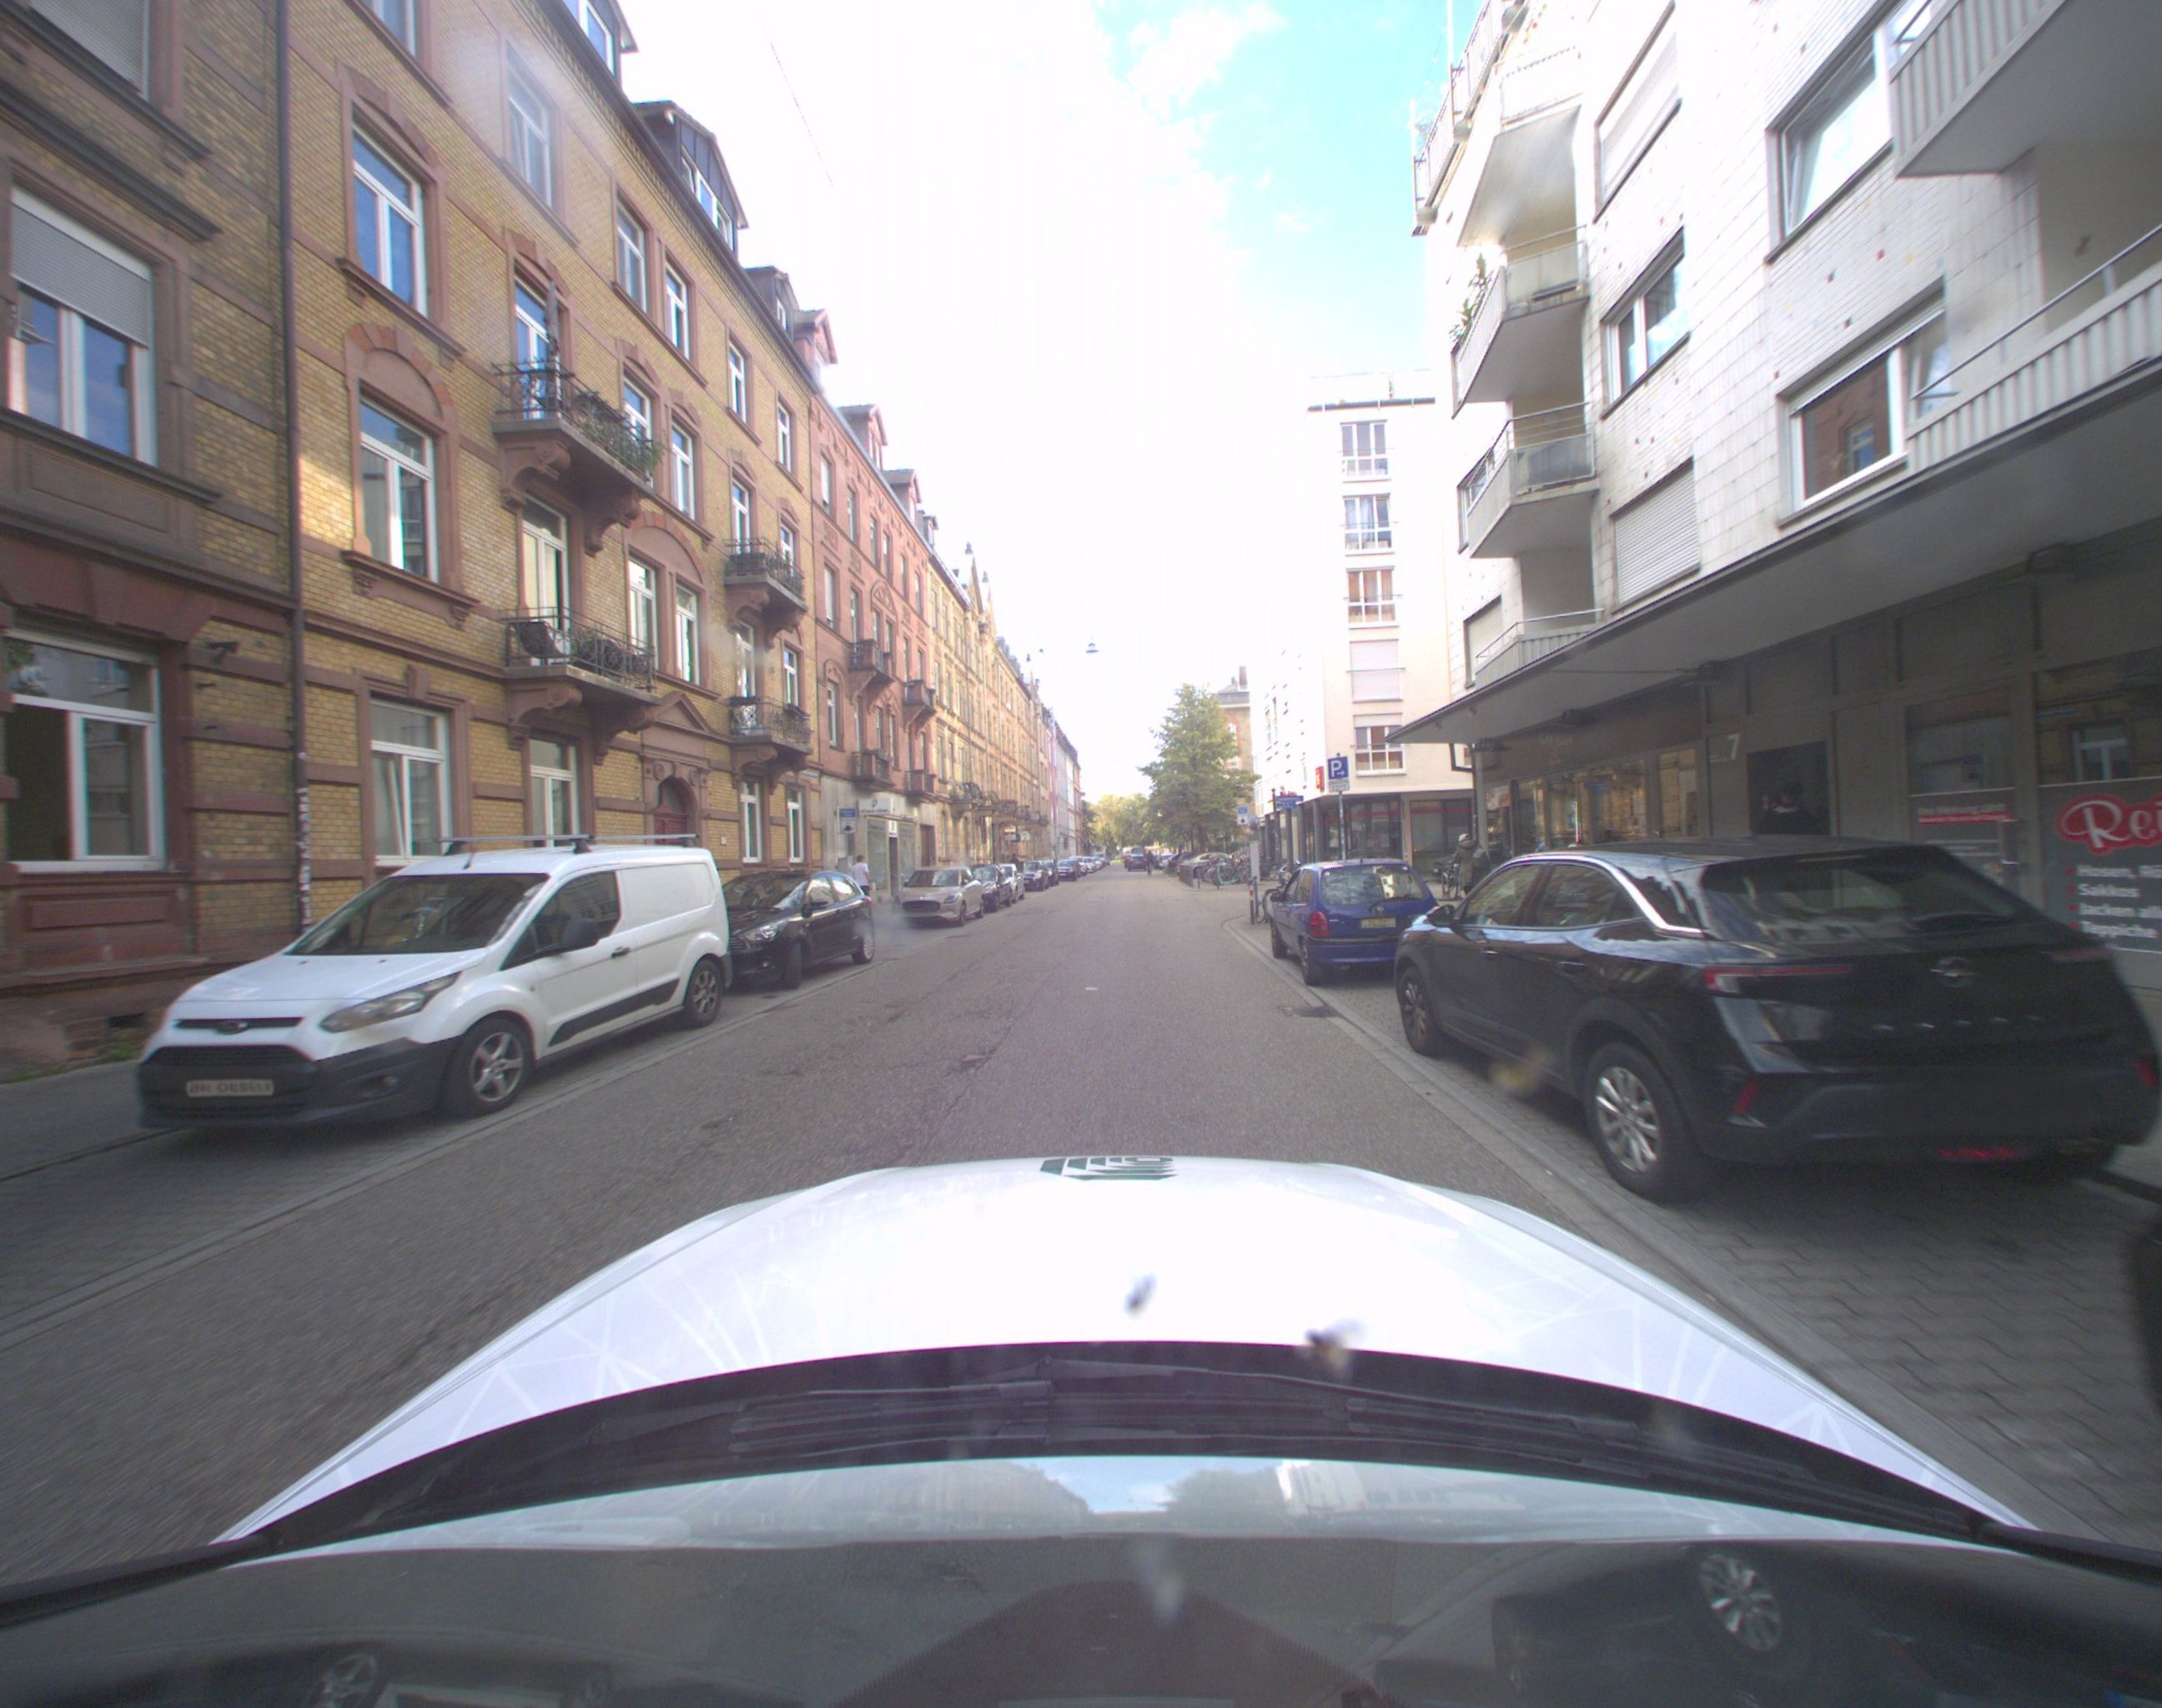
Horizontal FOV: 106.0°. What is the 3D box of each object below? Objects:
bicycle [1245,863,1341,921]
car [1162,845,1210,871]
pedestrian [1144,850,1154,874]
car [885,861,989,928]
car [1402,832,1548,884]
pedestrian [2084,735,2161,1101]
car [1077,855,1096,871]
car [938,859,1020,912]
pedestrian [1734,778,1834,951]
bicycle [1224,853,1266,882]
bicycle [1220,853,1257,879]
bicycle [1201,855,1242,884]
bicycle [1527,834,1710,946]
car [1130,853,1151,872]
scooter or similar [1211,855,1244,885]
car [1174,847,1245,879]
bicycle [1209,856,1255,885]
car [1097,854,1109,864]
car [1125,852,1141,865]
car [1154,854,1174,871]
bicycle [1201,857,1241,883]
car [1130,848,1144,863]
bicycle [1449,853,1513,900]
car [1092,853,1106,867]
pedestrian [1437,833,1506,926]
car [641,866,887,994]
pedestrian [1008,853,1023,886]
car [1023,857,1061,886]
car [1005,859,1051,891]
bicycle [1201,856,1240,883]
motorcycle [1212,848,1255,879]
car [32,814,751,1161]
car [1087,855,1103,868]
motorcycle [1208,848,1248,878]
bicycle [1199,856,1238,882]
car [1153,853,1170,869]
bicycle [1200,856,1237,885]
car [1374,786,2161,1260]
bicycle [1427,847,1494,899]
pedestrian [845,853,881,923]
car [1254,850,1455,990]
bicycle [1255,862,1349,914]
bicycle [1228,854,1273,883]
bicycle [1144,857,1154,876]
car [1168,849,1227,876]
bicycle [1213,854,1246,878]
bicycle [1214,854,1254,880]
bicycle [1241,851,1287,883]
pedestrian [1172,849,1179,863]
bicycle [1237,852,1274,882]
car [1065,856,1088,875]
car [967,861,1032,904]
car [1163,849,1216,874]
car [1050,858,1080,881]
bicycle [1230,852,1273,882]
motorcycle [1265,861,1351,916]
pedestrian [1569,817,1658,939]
[{"bbox_3d":[4.310,0.793,16.662,0.688,1.095,1.748,-3,-1,-43],"label":"bicycle"},{"bbox_3d":[8.951,0.346,69.407,3.965,1.683,1.742,-5,7,8],"label":"car"},{"bbox_3d":[4.829,0.550,57.737,0.715,1.650,0.931,-1,0,5],"label":"pedestrian"},{"bbox_3d":[-3.617,0.979,21.208,1.734,1.483,3.988,-1,0,4],"label":"car"},{"bbox_3d":[14.098,0.123,29.325,4.341,1.630,1.810,-2,2,5],"label":"car"},{"bbox_3d":[5.365,0.285,3.487,0.610,1.726,1.126,-5,0,-2],"label":"pedestrian"},{"bbox_3d":[0.571,0.882,79.849,1.683,1.550,3.870,-1,0,3],"label":"car"},{"bbox_3d":[-3.173,0.952,26.108,1.733,1.483,3.989,-1,0,5],"label":"car"},{"bbox_3d":[7.917,0.118,9.204,0.700,1.860,0.649,-3,-1,33],"label":"pedestrian"},{"bbox_3d":[7.414,0.595,36.776,1.770,1.146,0.409,-5,0,-17],"label":"bicycle"},{"bbox_3d":[7.982,0.607,41.264,1.724,1.159,0.501,-5,0,5],"label":"bicycle"},{"bbox_3d":[6.376,0.685,36.905,1.770,1.146,0.409,-5,0,-17],"label":"bicycle"},{"bbox_3d":[7.179,0.442,11.096,0.914,1.291,2.502,-4,0,4],"label":"bicycle"},{"bbox_3d":[5.916,0.832,81.166,1.956,1.741,4.045,-2,-1,4],"label":"car"},{"bbox_3d":[6.059,0.668,33.767,1.193,1.147,0.381,-5,1,35],"label":"scooter or similar"},{"bbox_3d":[7.633,0.552,48.460,3.756,1.546,1.727,-4,-1,-7],"label":"car"},{"bbox_3d":[6.367,0.700,34.363,1.761,1.056,0.411,-5,0,-2],"label":"bicycle"},{"bbox_3d":[3.419,0.740,126.495,1.683,1.550,3.870,-1,0,3],"label":"car"},{"bbox_3d":[6.161,0.537,96.574,1.789,1.472,3.891,-1,0,3],"label":"car"},{"bbox_3d":[8.304,0.844,81.670,1.921,1.638,4.005,-1,0,4],"label":"car"},{"bbox_3d":[6.563,0.747,38.261,1.756,1.099,0.412,-5,0,6],"label":"bicycle"},{"bbox_3d":[7.547,0.207,109.635,1.775,2.020,3.891,-1,0,3],"label":"car"},{"bbox_3d":[9.733,0.545,19.886,0.444,1.064,1.924,-2,-1,-4],"label":"bicycle"},{"bbox_3d":[2.495,0.769,111.435,1.683,1.821,3.870,-1,0,3],"label":"car"},{"bbox_3d":[6.993,0.443,14.620,0.820,1.588,0.782,-3,-1,5],"label":"pedestrian"},{"bbox_3d":[-4.256,0.934,11.694,1.734,1.483,3.987,-1,-1,4],"label":"car"},{"bbox_3d":[-3.777,0.883,47.010,0.685,1.853,0.933,-1,0,5],"label":"pedestrian"},{"bbox_3d":[-2.105,0.942,45.180,1.683,1.437,3.871,-1,0,3],"label":"car"},{"bbox_3d":[-2.492,0.969,39.227,1.683,1.386,3.871,-1,0,3],"label":"car"},{"bbox_3d":[6.676,0.743,39.001,1.756,1.118,0.412,-5,0,6],"label":"bicycle"},{"bbox_3d":[8.057,0.503,43.160,2.138,1.434,0.767,-5,0,8],"label":"motorcycle"},{"bbox_3d":[-4.717,0.735,6.703,1.911,1.871,4.441,-2,0,4],"label":"car"},{"bbox_3d":[1.628,0.858,94.913,1.683,1.550,3.870,-1,0,3],"label":"car"},{"bbox_3d":[8.325,0.494,46.187,2.138,1.530,0.688,-5,0,8],"label":"motorcycle"},{"bbox_3d":[6.712,0.739,39.935,1.785,1.159,0.501,-5,0,6],"label":"bicycle"},{"bbox_3d":[8.502,0.732,86.203,1.682,1.550,3.693,-1,0,5],"label":"car"},{"bbox_3d":[6.036,0.709,35.751,1.491,1.146,0.411,-5,0,-2],"label":"bicycle"},{"bbox_3d":[3.223,0.597,4.784,1.681,1.577,3.905,-3,0,3],"label":"car"},{"bbox_3d":[9.204,0.456,19.828,0.533,1.191,1.930,-2,-1,-5],"label":"bicycle"},{"bbox_3d":[-5.716,0.868,21.355,0.729,1.790,0.771,1,0,-3],"label":"pedestrian"},{"bbox_3d":[3.380,0.714,10.833,1.588,1.439,4.036,-3,0,5],"label":"car"},{"bbox_3d":[4.998,0.780,18.525,0.694,1.095,1.939,-2,-2,-43],"label":"bicycle"},{"bbox_3d":[7.249,0.624,34.955,1.757,1.087,0.651,-5,0,6],"label":"bicycle"},{"bbox_3d":[4.827,0.895,57.641,0.714,1.274,1.886,-1,0,5],"label":"bicycle"},{"bbox_3d":[8.157,0.590,56.944,3.964,1.583,2.005,-4,0,8],"label":"car"},{"bbox_3d":[8.091,0.663,44.505,1.656,1.159,0.558,-5,0,5],"label":"bicycle"},{"bbox_3d":[7.569,0.656,40.291,1.777,1.159,0.503,-5,0,30],"label":"bicycle"},{"bbox_3d":[7.603,0.536,33.884,1.757,1.162,0.651,-5,0,6],"label":"bicycle"},{"bbox_3d":[14.398,0.296,123.857,0.991,2.230,0.900,-1,0,4],"label":"pedestrian"},{"bbox_3d":[7.641,0.567,35.717,1.489,1.146,0.412,-5,0,3],"label":"bicycle"},{"bbox_3d":[-0.362,0.938,67.875,1.683,1.550,3.870,0,0,3],"label":"car"},{"bbox_3d":[-2.958,1.003,30.239,1.682,1.386,3.873,-1,0,5],"label":"car"},{"bbox_3d":[8.574,0.595,64.088,3.964,1.640,2.005,-4,0,8],"label":"car"},{"bbox_3d":[-1.065,1.038,55.497,1.683,1.369,3.871,2,1,3],"label":"car"},{"bbox_3d":[7.600,0.576,36.260,1.761,1.146,0.411,-5,0,-2],"label":"bicycle"},{"bbox_3d":[4.891,0.758,17.590,0.612,1.095,1.645,-3,-1,-43],"label":"motorcycle"},{"bbox_3d":[7.313,0.319,11.219,0.641,1.588,0.782,-4,-1,5],"label":"pedestrian"}]
